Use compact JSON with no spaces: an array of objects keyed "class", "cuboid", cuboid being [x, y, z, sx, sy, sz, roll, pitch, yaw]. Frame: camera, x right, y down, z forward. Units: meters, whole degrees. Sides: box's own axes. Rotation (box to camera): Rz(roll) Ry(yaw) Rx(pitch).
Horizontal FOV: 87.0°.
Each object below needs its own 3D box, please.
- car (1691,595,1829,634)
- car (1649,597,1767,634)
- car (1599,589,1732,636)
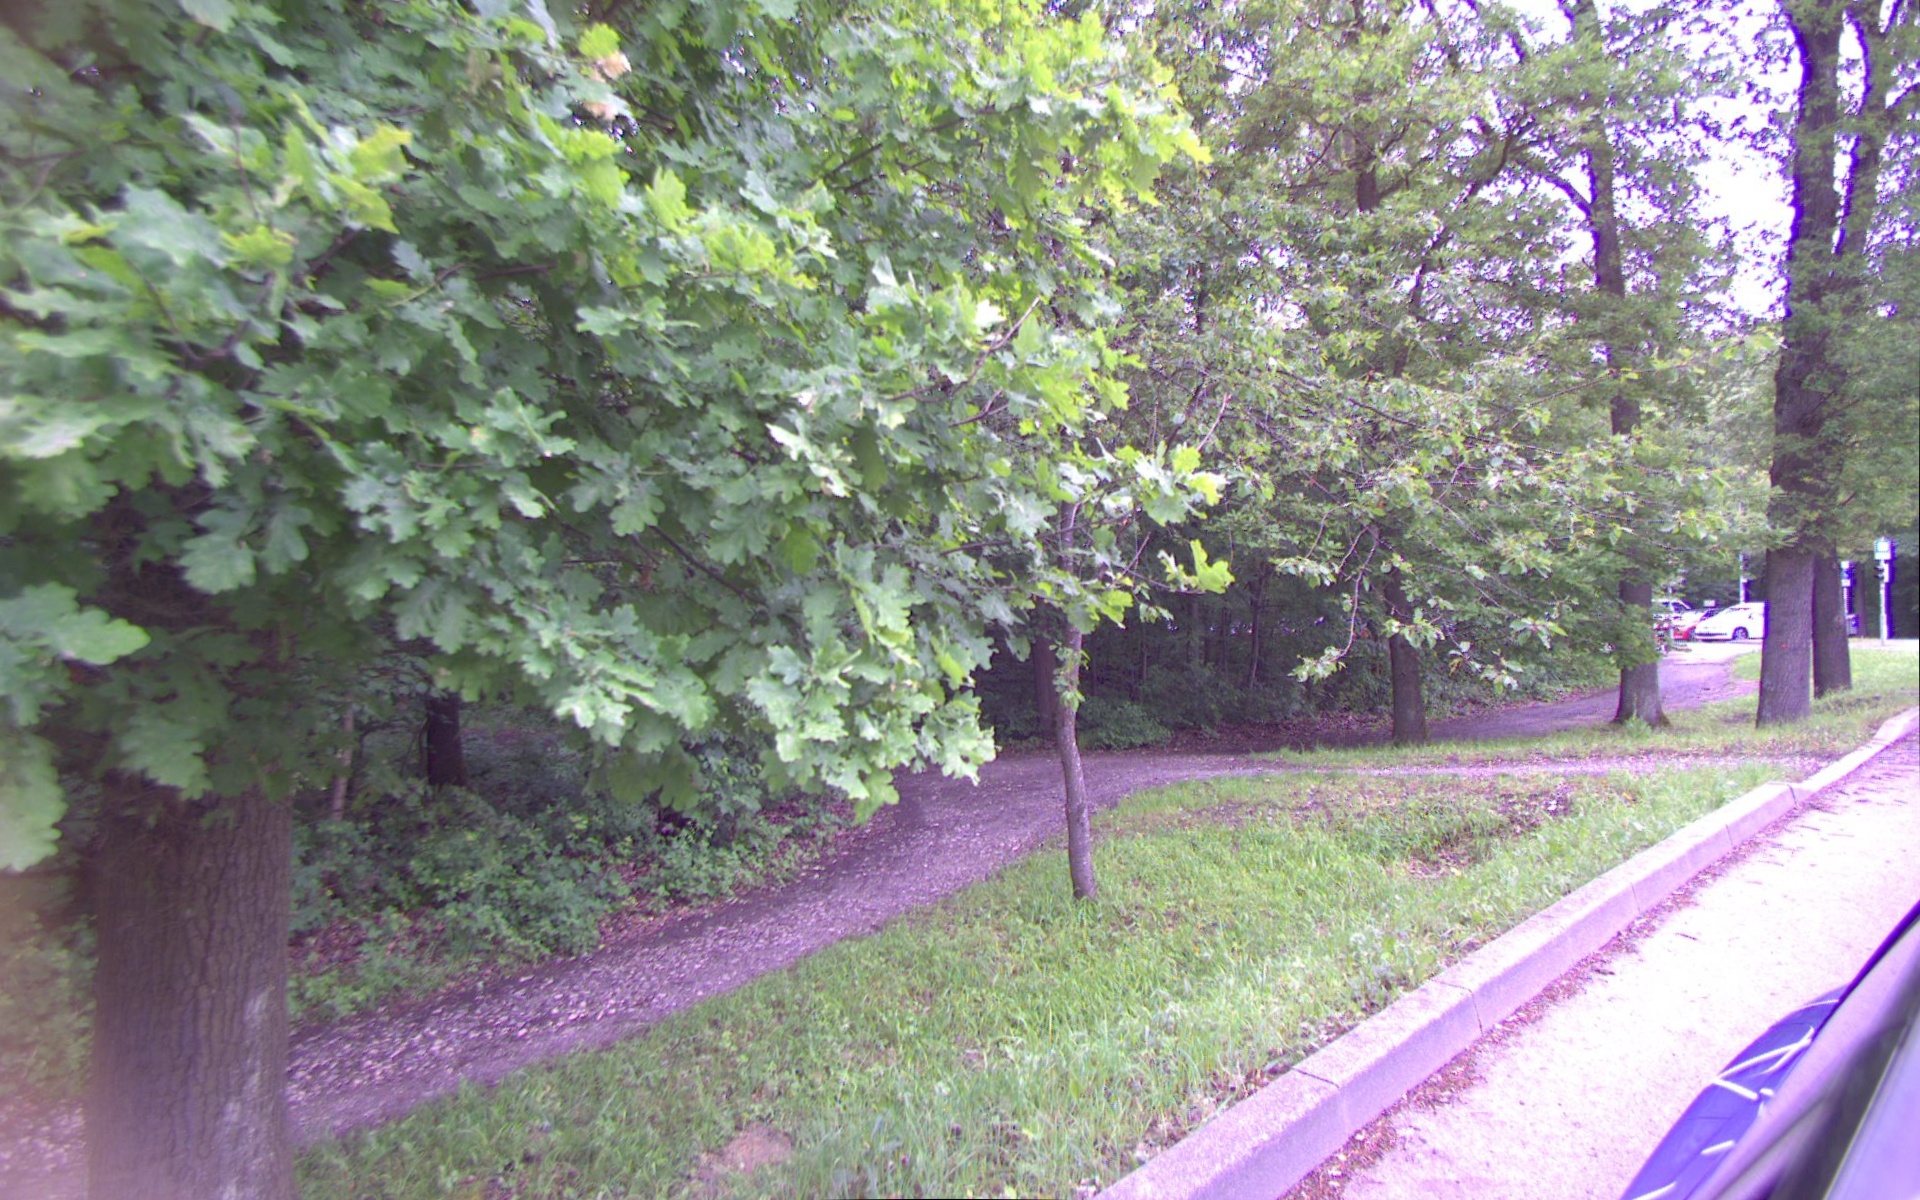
[{"class":"car","cuboid":[33.977,0.648,43.056,4.332,1.572,2.001,-1,-2,-6]},{"class":"car","cuboid":[33.606,0.713,45.516,3.920,1.572,1.896,-1,-2,-6]},{"class":"car","cuboid":[33.517,0.607,48.125,5.077,1.982,2.065,-2,-2,-10]}]
